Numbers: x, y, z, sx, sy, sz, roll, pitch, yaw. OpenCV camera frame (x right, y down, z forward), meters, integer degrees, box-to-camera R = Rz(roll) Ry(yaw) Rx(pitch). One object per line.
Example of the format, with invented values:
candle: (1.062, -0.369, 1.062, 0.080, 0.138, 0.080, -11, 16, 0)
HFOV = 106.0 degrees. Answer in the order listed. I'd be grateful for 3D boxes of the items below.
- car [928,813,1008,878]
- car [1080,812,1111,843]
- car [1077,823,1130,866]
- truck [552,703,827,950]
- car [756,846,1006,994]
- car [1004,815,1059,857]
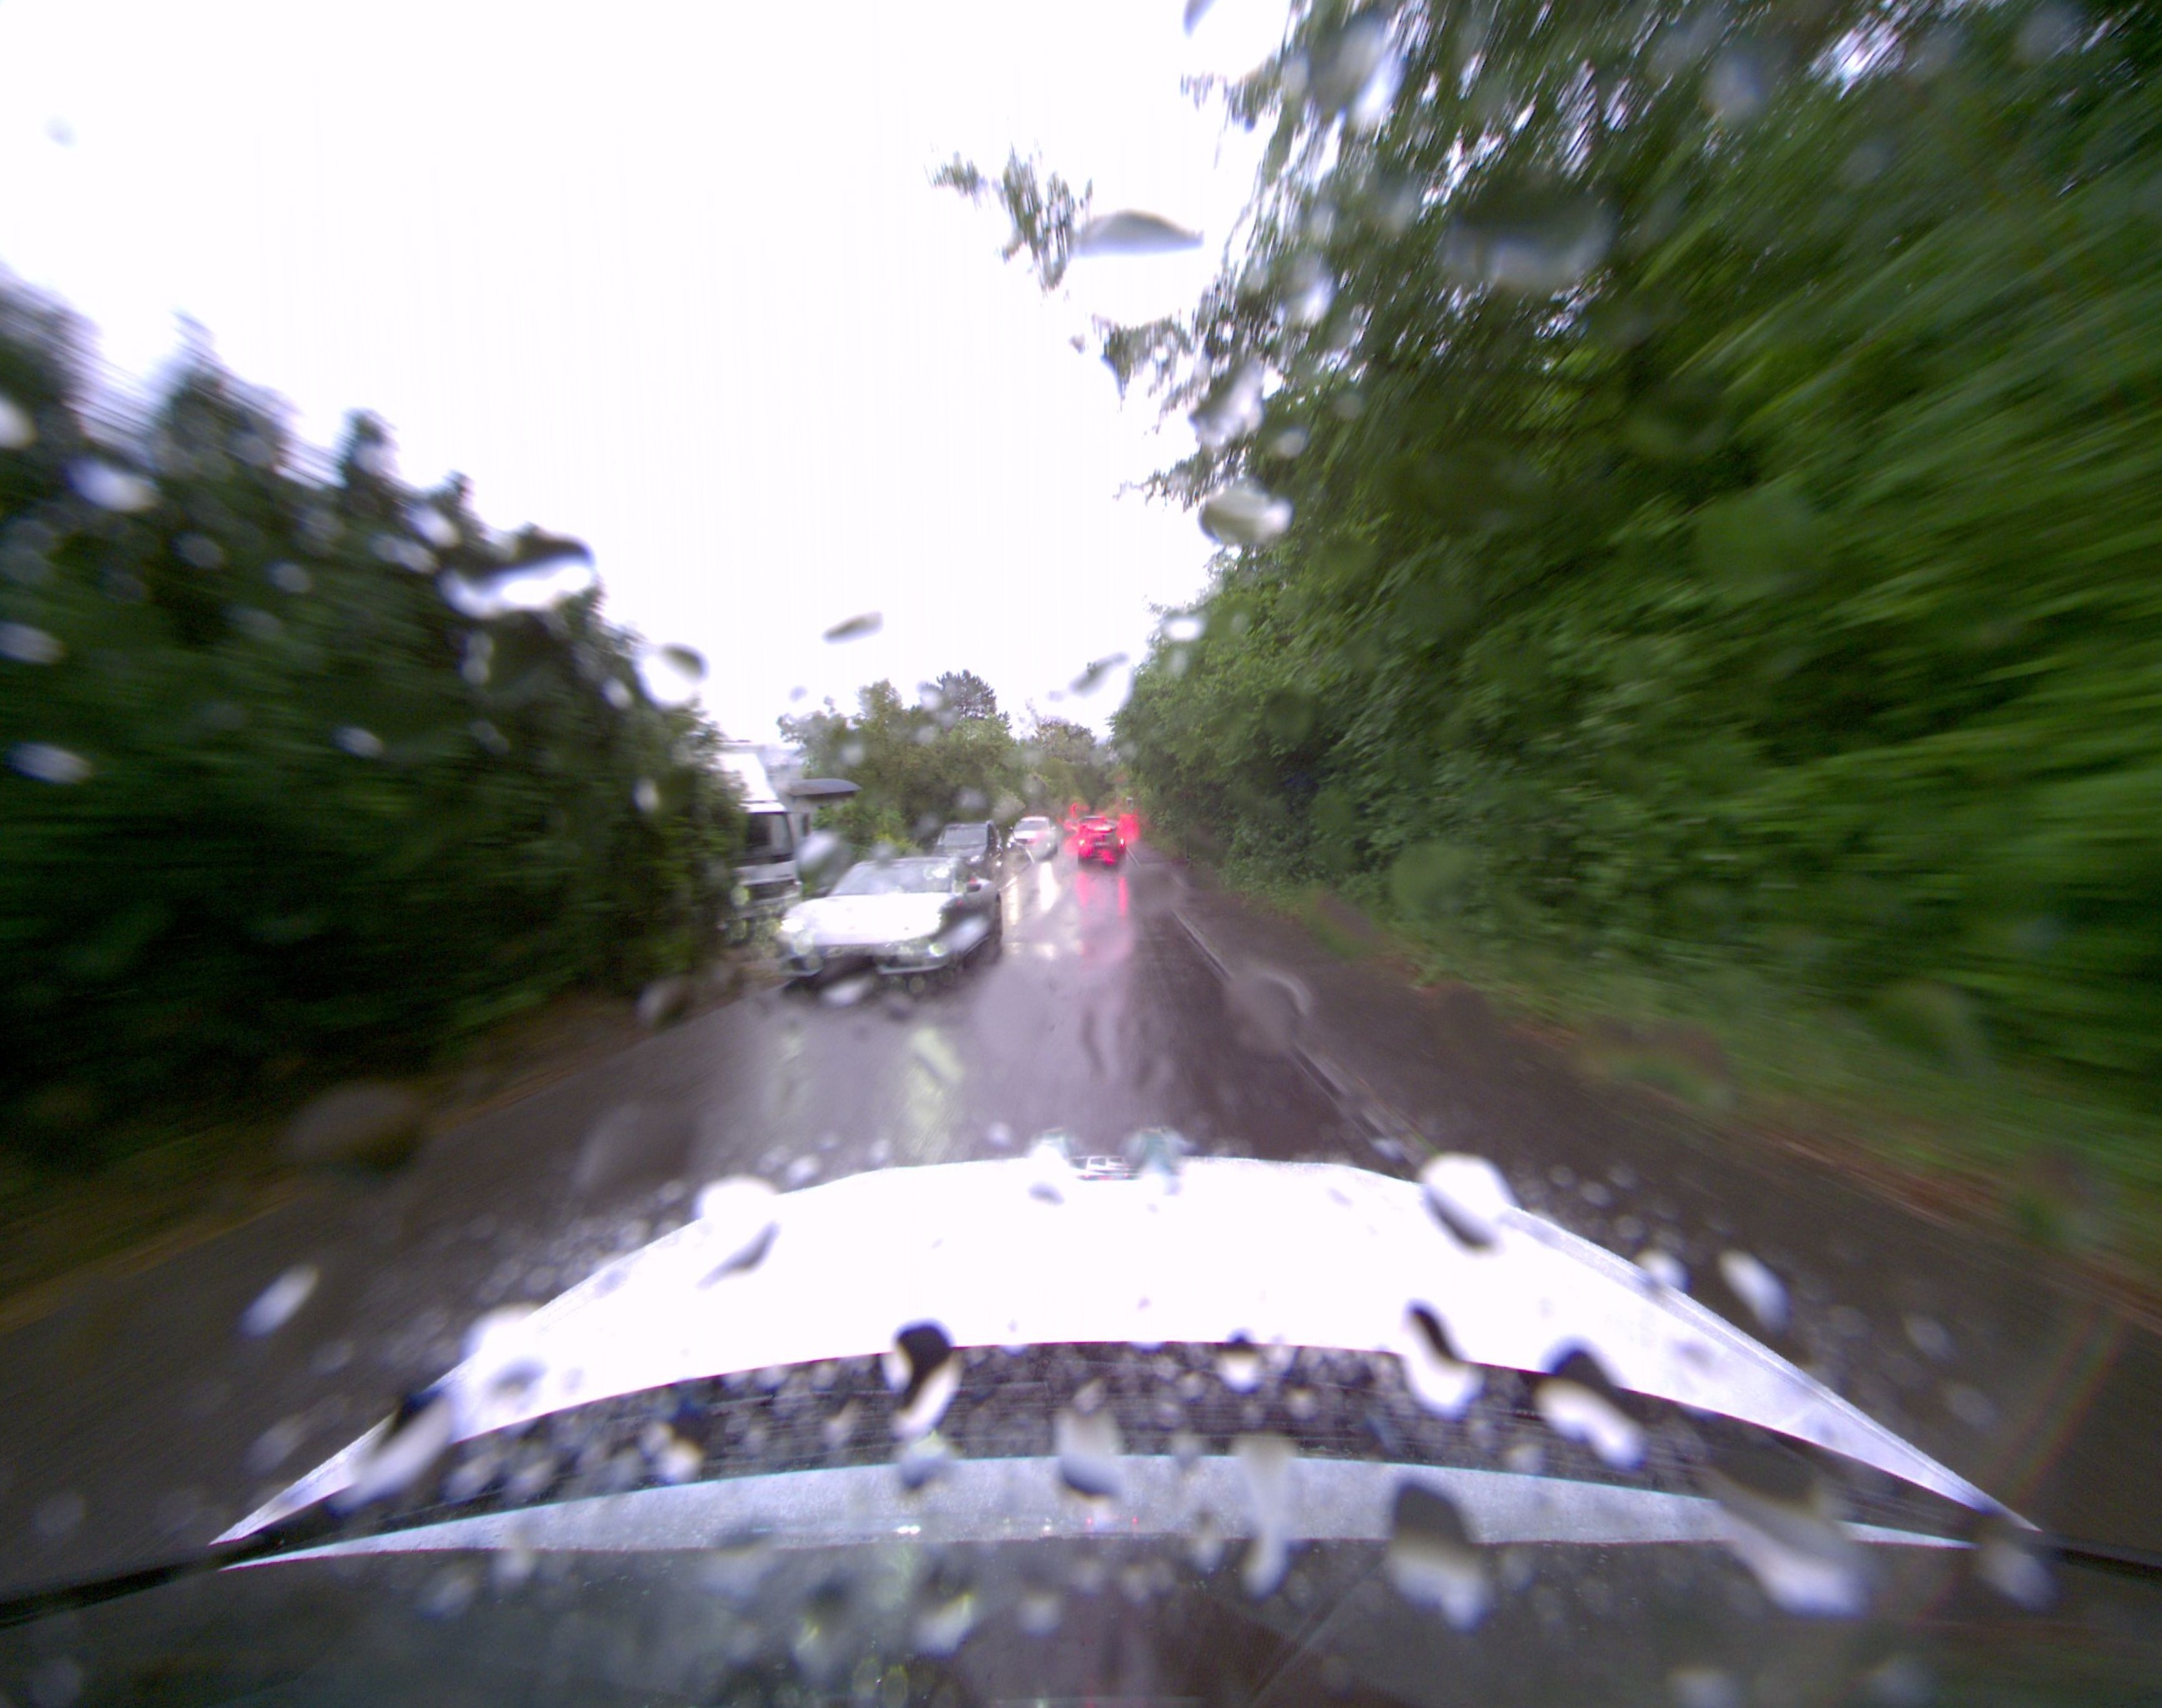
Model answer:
car: (-3.351, -0.341, 24.985, 1.683, 1.782, 4.235, -2, 3, 2)
car: (0.889, -1.640, 51.807, 1.857, 1.743, 3.999, 0, -2, 0)
car: (0.784, -0.417, 30.618, 1.695, 1.450, 3.998, -2, 3, -2)
truck: (-8.256, -0.727, 16.432, 2.689, 3.808, 8.037, 1, 4, -43)
car: (-2.279, 0.747, 10.710, 1.933, 1.522, 4.582, 0, -2, 3)
car: (-2.051, -0.830, 35.004, 2.041, 1.600, 4.231, 1, 4, 0)
